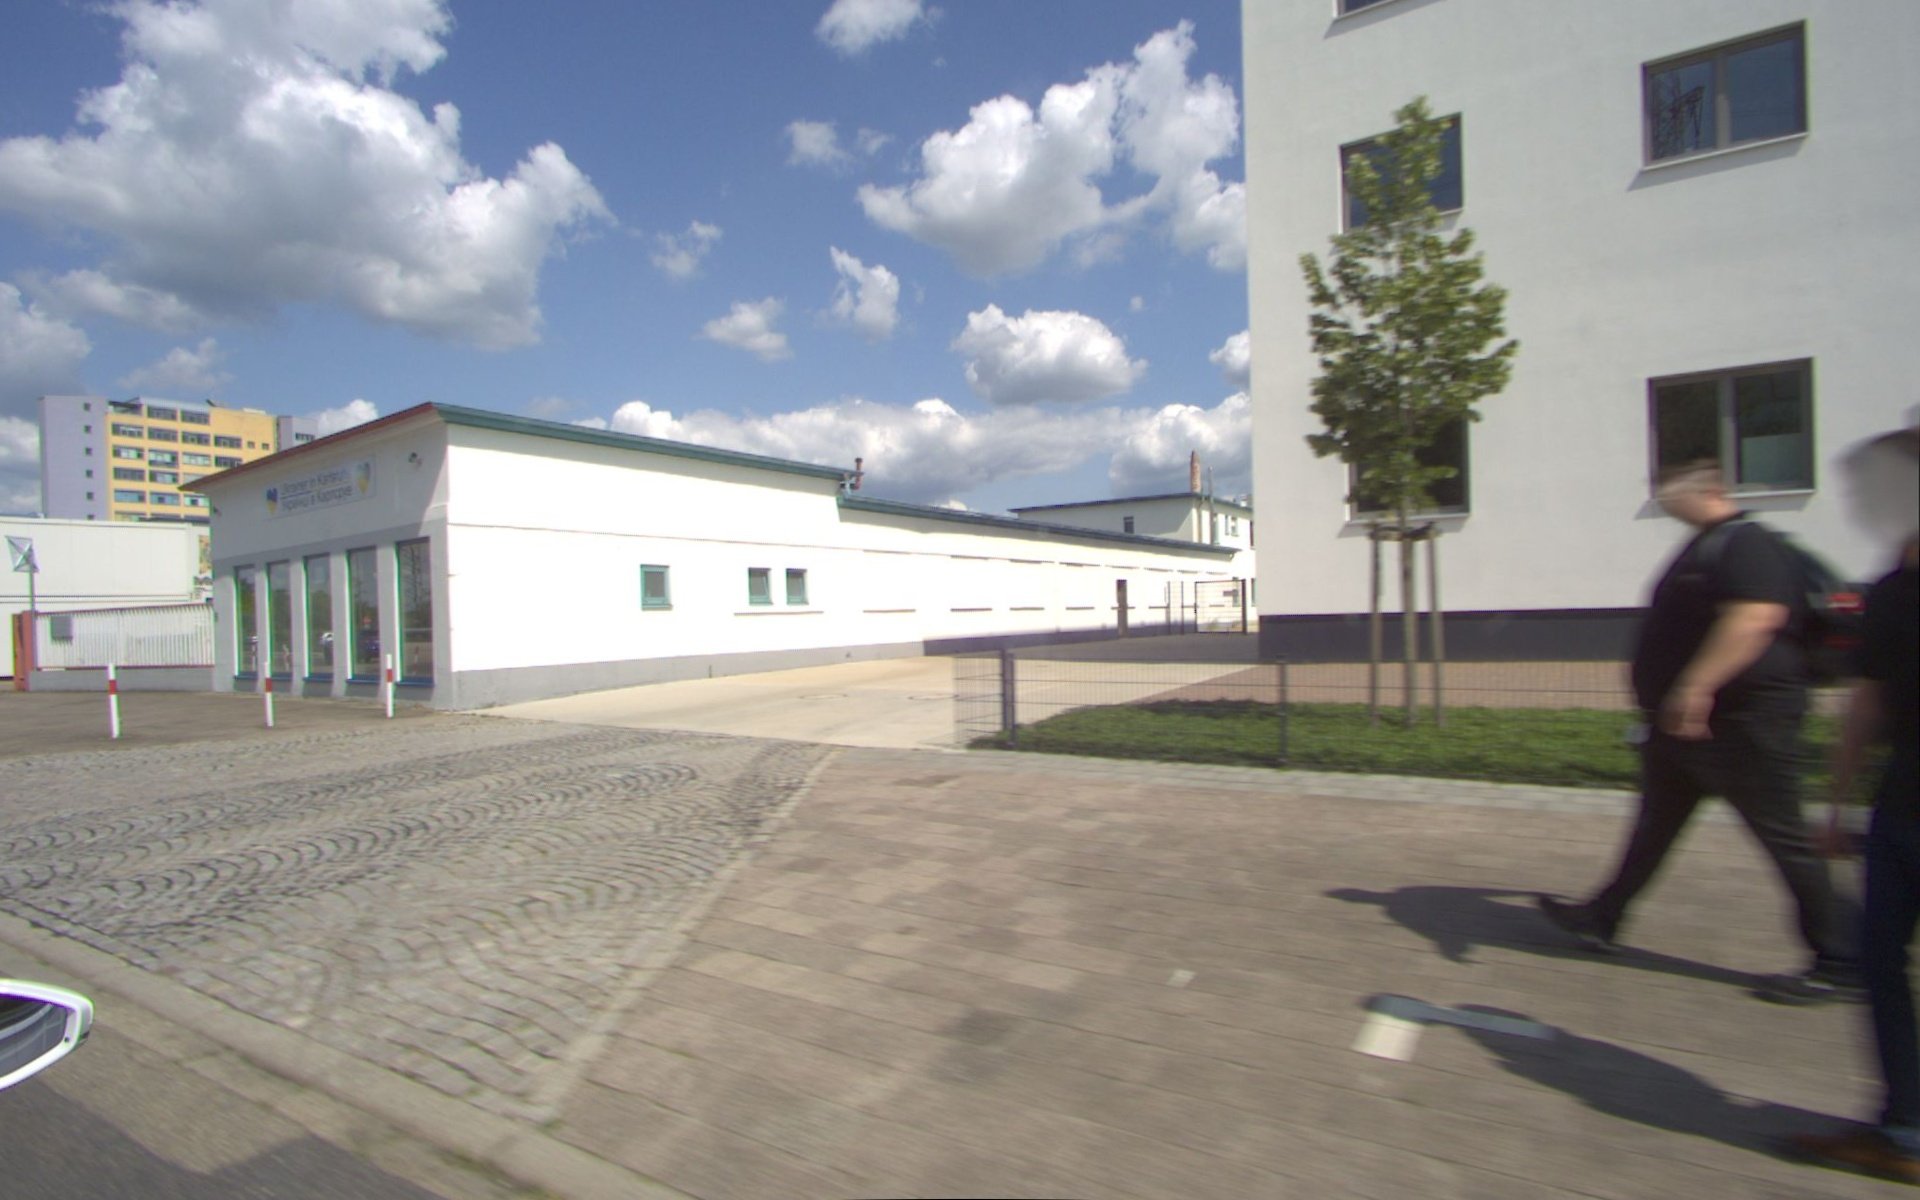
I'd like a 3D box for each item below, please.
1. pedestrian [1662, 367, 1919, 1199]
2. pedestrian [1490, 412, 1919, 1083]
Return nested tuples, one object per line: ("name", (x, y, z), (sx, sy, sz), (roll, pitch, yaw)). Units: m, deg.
("pedestrian", (2.432, 0.438, 2.347), (0.986, 1.831, 0.858), (-2, 1, 10))
("pedestrian", (2.615, 0.446, 3.479), (1.070, 1.978, 0.992), (-2, 1, 10))
